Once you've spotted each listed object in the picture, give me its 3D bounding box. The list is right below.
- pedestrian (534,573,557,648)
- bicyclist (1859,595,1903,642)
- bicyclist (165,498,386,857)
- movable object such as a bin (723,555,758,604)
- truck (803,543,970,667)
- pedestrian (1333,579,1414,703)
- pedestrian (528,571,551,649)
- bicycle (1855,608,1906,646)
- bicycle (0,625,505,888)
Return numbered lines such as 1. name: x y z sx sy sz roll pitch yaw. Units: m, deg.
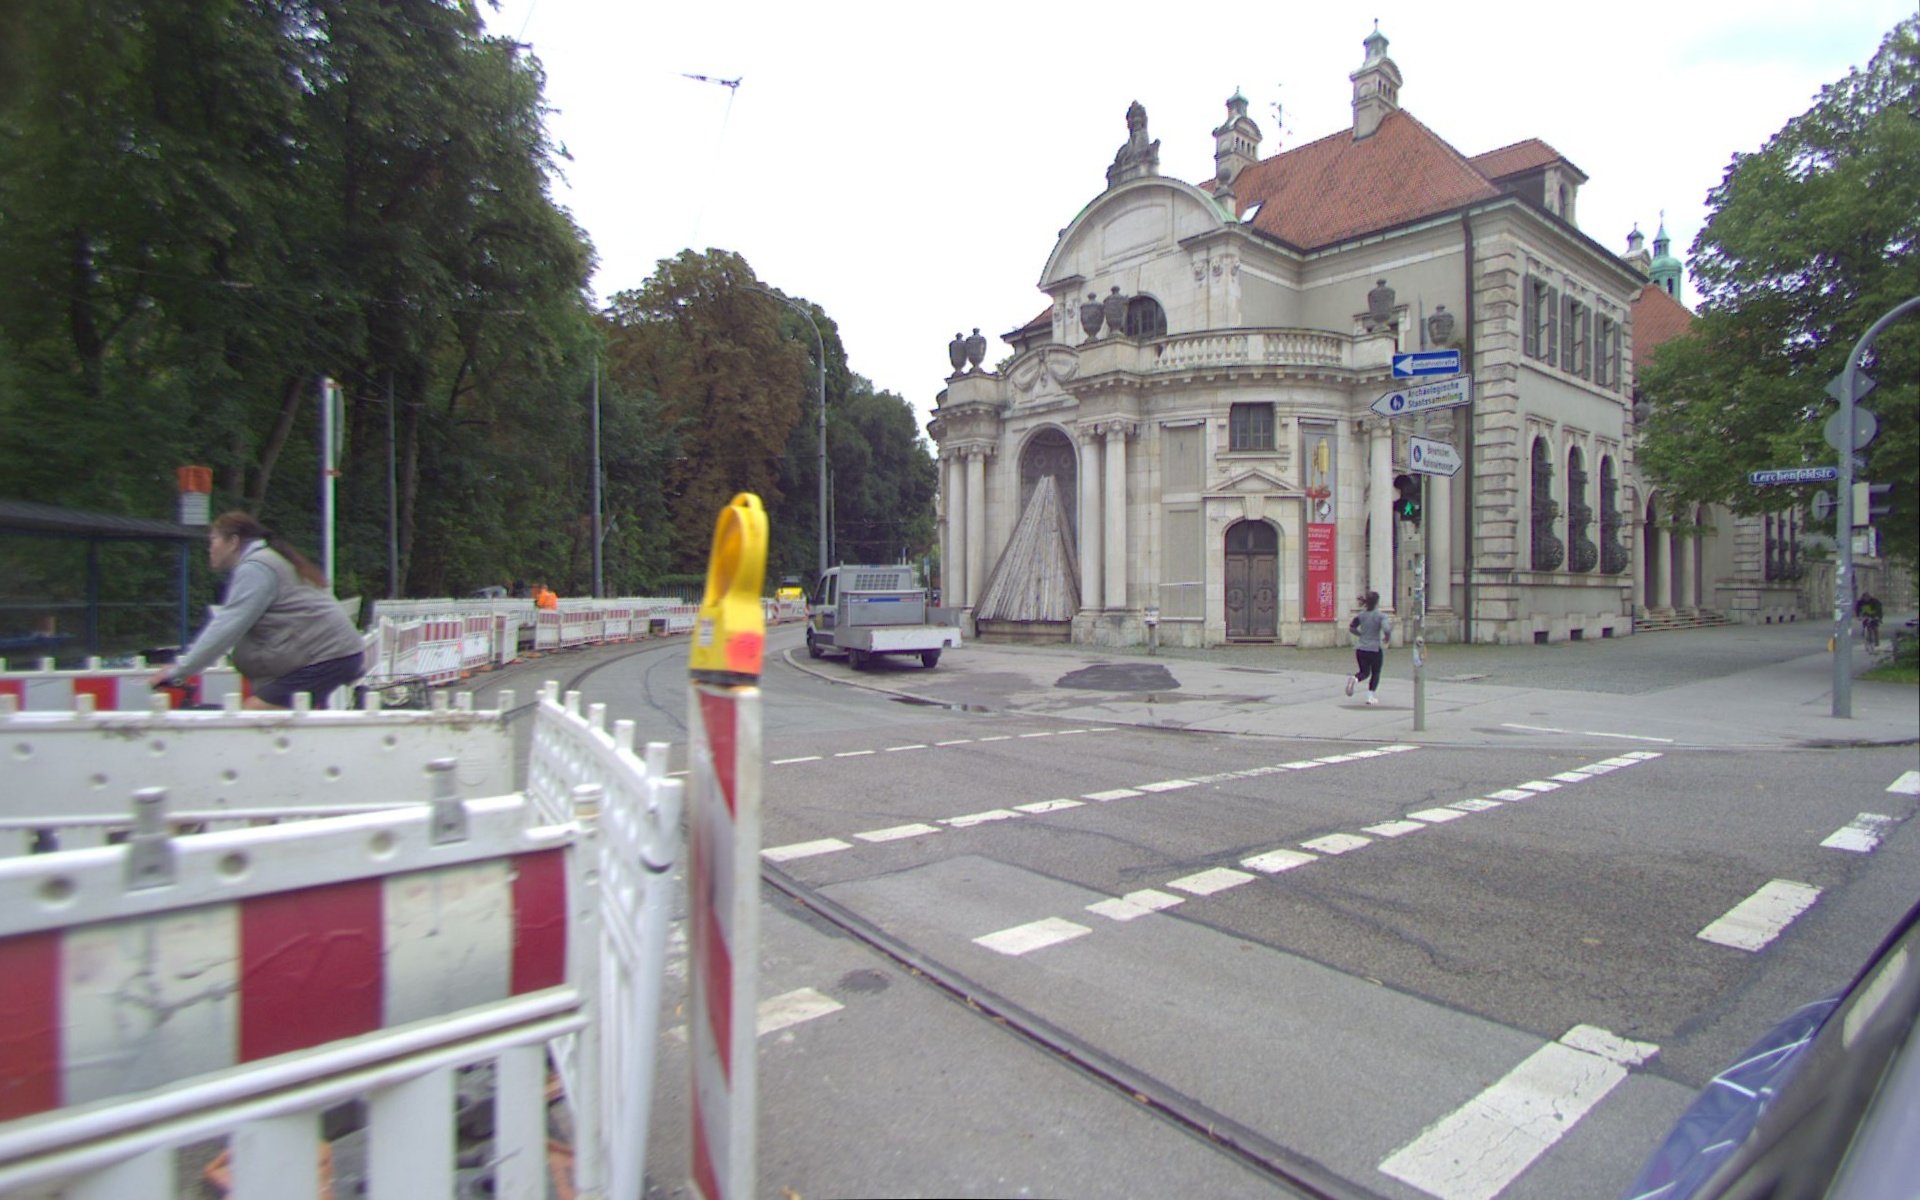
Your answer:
1. pedestrian: -11.938 0.292 29.161 0.551 2.136 0.689 -1 -1 -19
2. bicyclist: 26.324 0.523 28.922 0.878 1.330 0.807 0 -1 -41
3. bicyclist: -3.613 0.364 5.340 0.883 1.688 0.757 0 -1 -41
4. movable object such as a bin: -11.135 -0.991 51.460 1.294 2.342 3.777 -1 -1 -6
5. truck: -1.927 0.118 23.787 2.246 2.526 5.947 -1 -1 -21
6. pedestrian: 6.178 0.598 15.146 1.055 1.787 0.768 -2 -1 23
7. pedestrian: -11.707 0.279 28.161 0.551 2.136 0.689 -1 -1 -21
8. bicycle: 26.254 0.759 28.858 2.022 1.020 0.829 -1 -1 -41
9. bicycle: -3.620 0.698 5.311 2.126 1.071 0.739 -1 -1 -42
